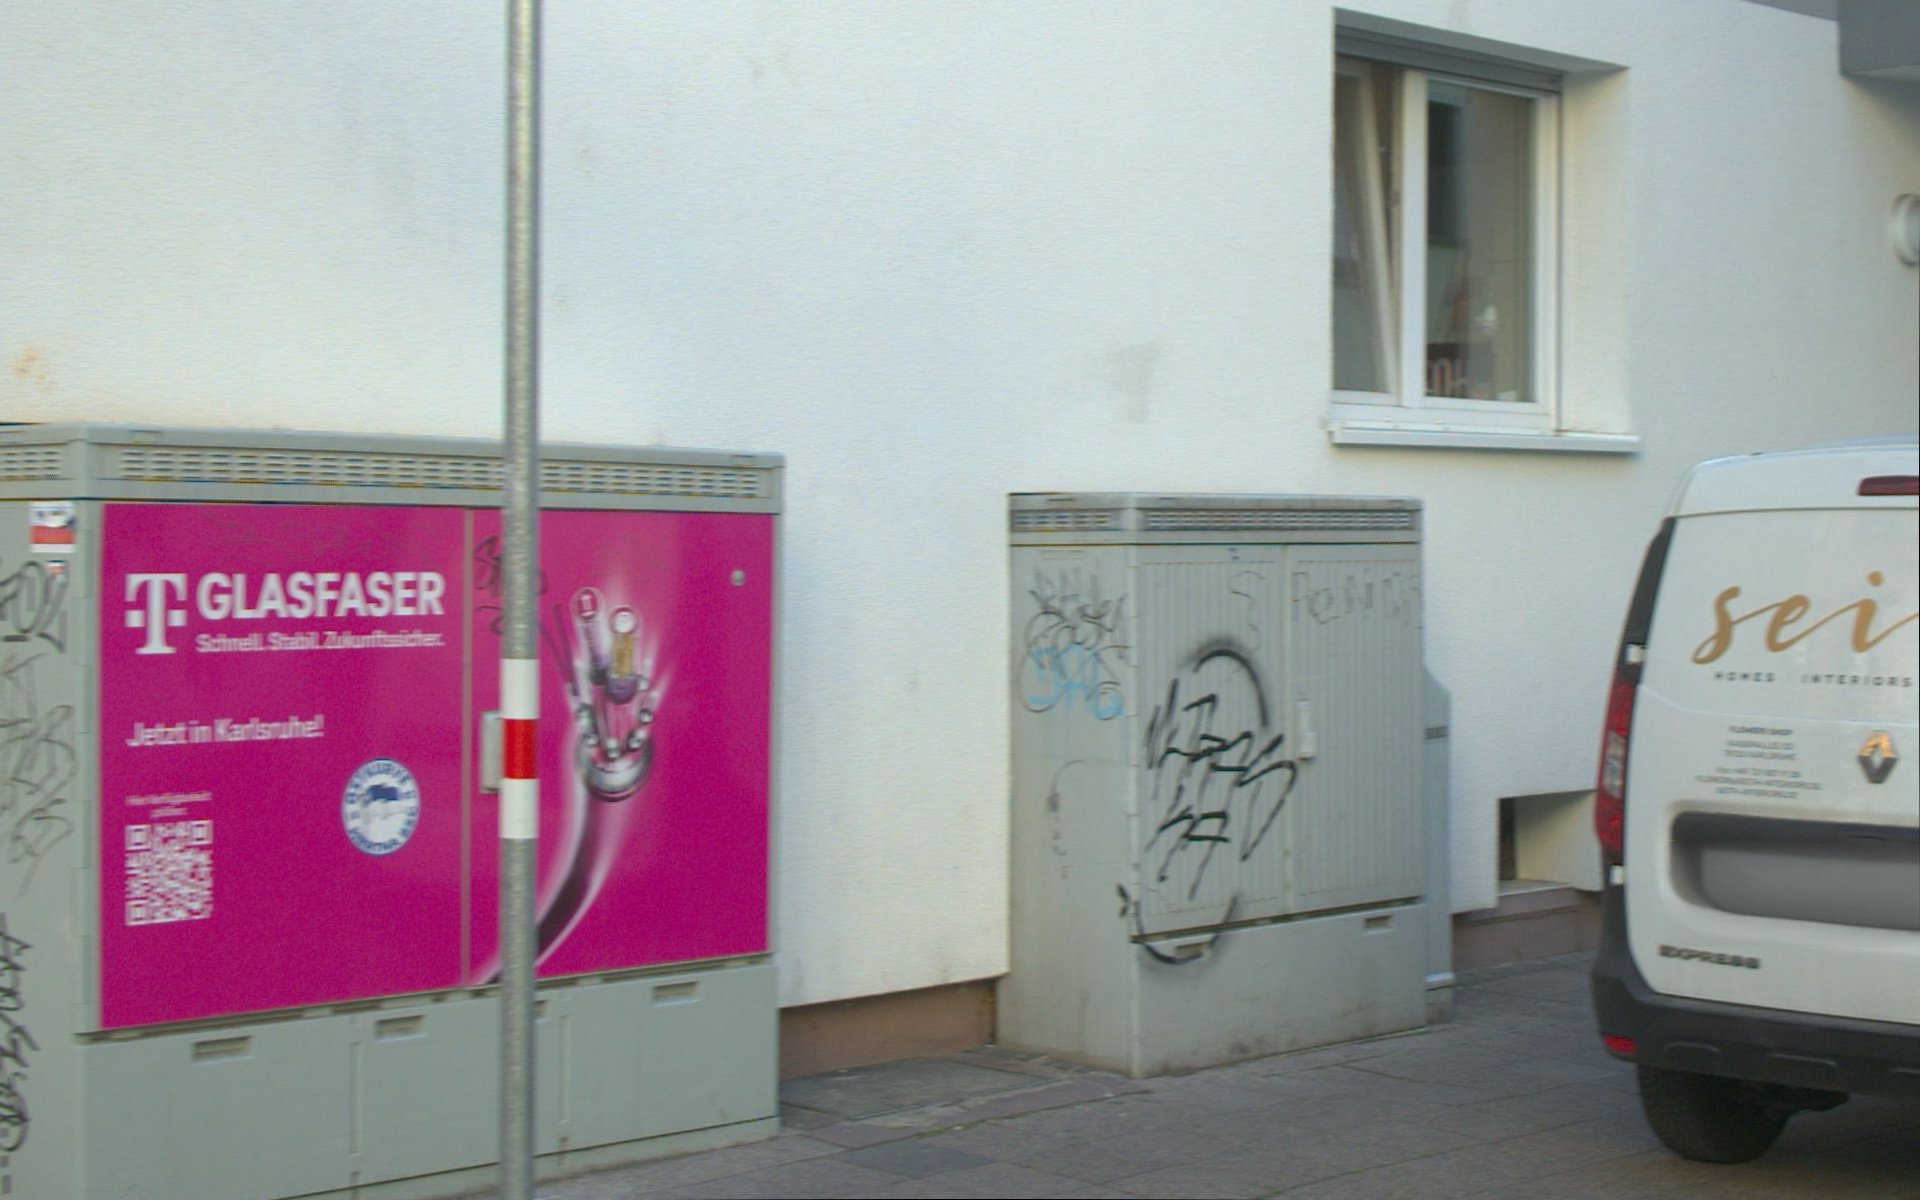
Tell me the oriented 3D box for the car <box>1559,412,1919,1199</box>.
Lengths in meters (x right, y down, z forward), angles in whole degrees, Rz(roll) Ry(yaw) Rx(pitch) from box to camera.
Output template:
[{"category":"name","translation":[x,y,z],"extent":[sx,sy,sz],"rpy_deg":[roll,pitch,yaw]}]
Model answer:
[{"category":"car","translation":[3.402,0.440,9.009],"extent":[1.635,1.807,4.175],"rpy_deg":[1,2,42]}]
